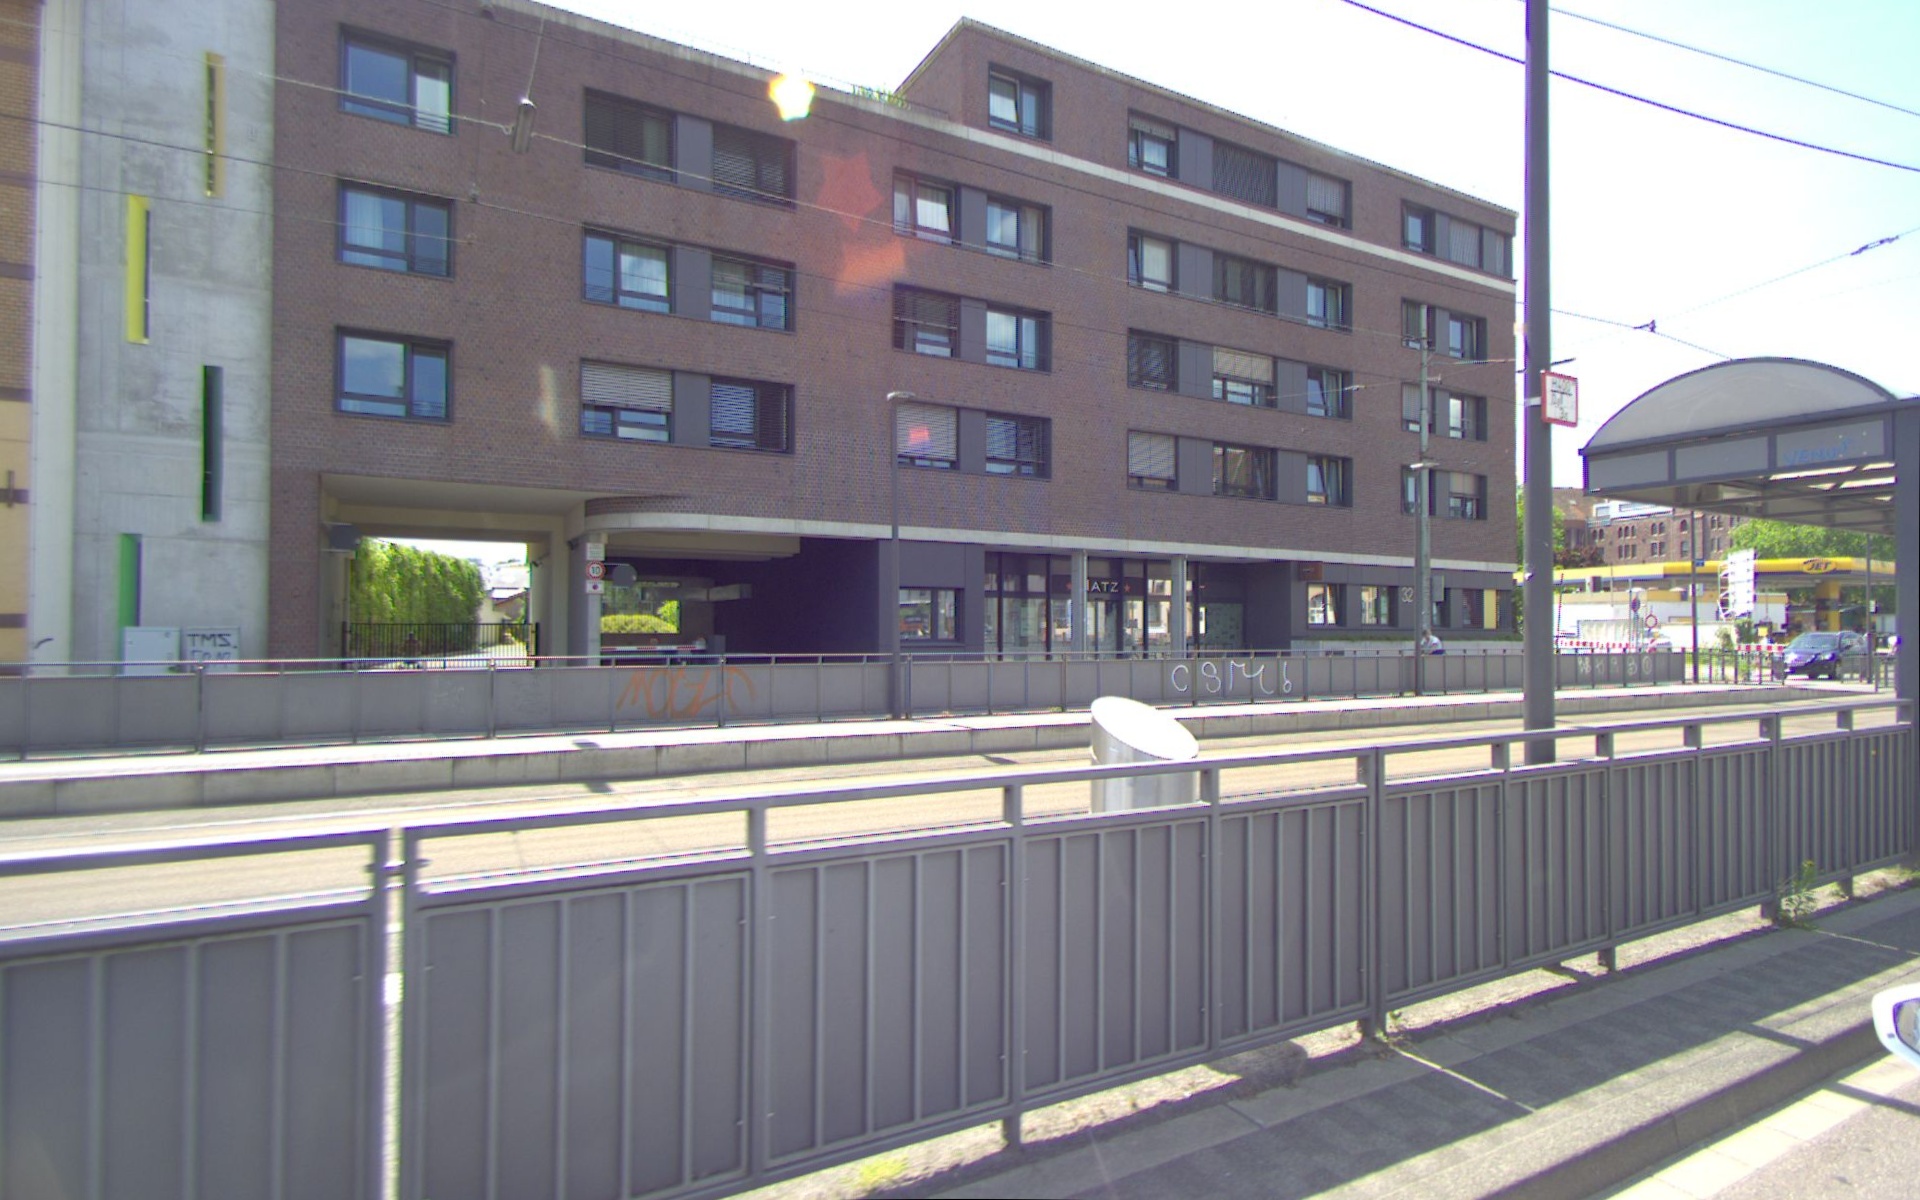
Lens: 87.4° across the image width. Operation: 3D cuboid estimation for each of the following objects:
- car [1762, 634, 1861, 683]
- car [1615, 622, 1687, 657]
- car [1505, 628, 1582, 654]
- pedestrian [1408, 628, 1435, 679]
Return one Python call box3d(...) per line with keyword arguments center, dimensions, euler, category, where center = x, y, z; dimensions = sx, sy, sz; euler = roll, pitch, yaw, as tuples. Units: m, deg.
box3d(center=(30.076, 2.035, 35.462), dimensions=(3.718, 1.637, 1.688), euler=(1, -2, -34), category="car")
box3d(center=(36.206, 2.106, 52.748), dimensions=(2.017, 1.587, 4.003), euler=(-2, -5, 18), category="car")
box3d(center=(35.304, 2.463, 60.867), dimensions=(1.730, 1.482, 4.005), euler=(1, -1, -15), category="car")
box3d(center=(12.921, 1.506, 28.125), dimensions=(0.529, 1.402, 0.433), euler=(2, -4, -29), category="pedestrian")
